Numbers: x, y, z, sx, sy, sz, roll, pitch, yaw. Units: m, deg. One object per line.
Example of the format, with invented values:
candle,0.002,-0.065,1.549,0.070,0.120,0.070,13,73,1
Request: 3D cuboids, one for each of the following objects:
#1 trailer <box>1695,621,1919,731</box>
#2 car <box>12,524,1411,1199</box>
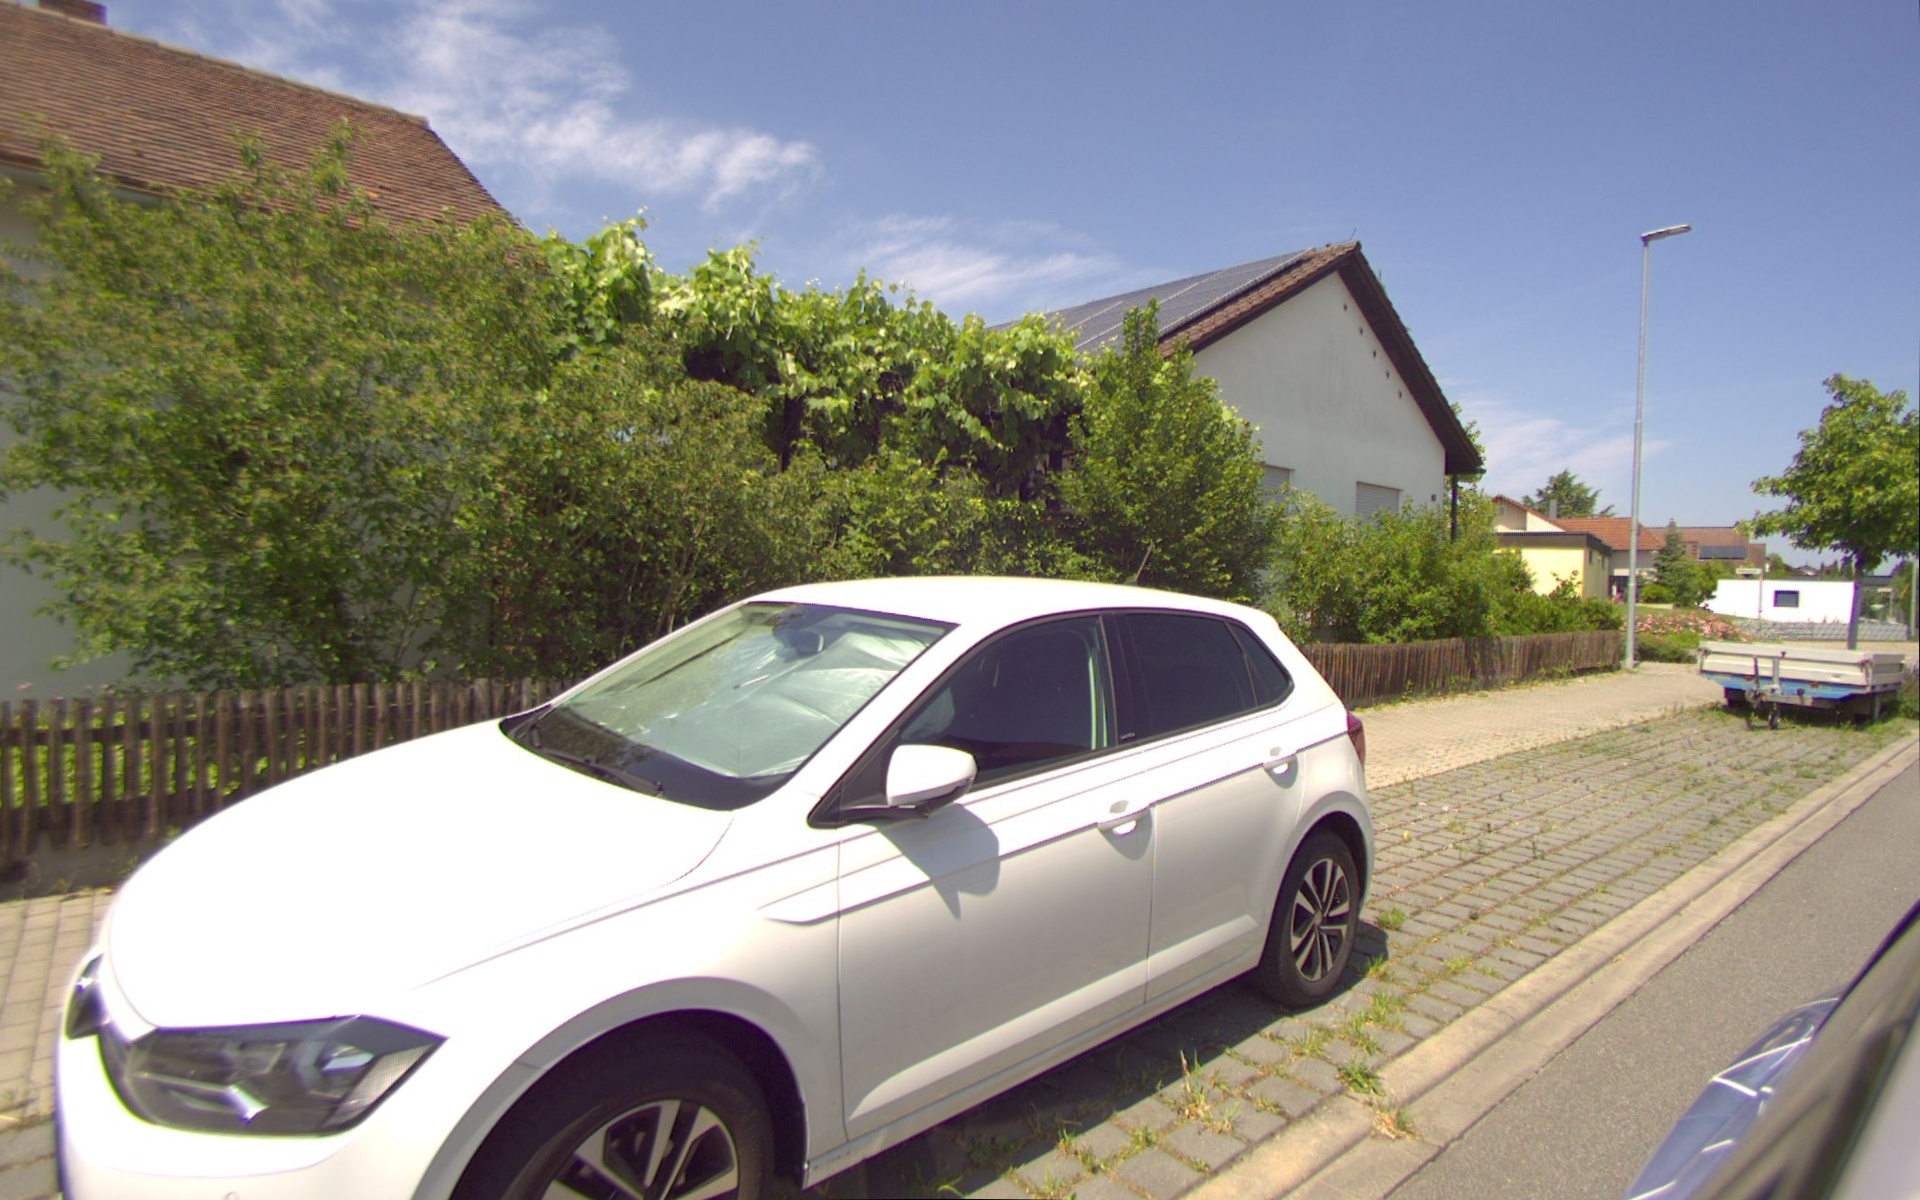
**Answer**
trailer,10.656,0.861,12.613,2.847,1.071,1.791,0,2,-40
car,-0.336,0.603,3.174,3.802,1.438,1.817,0,2,-43
